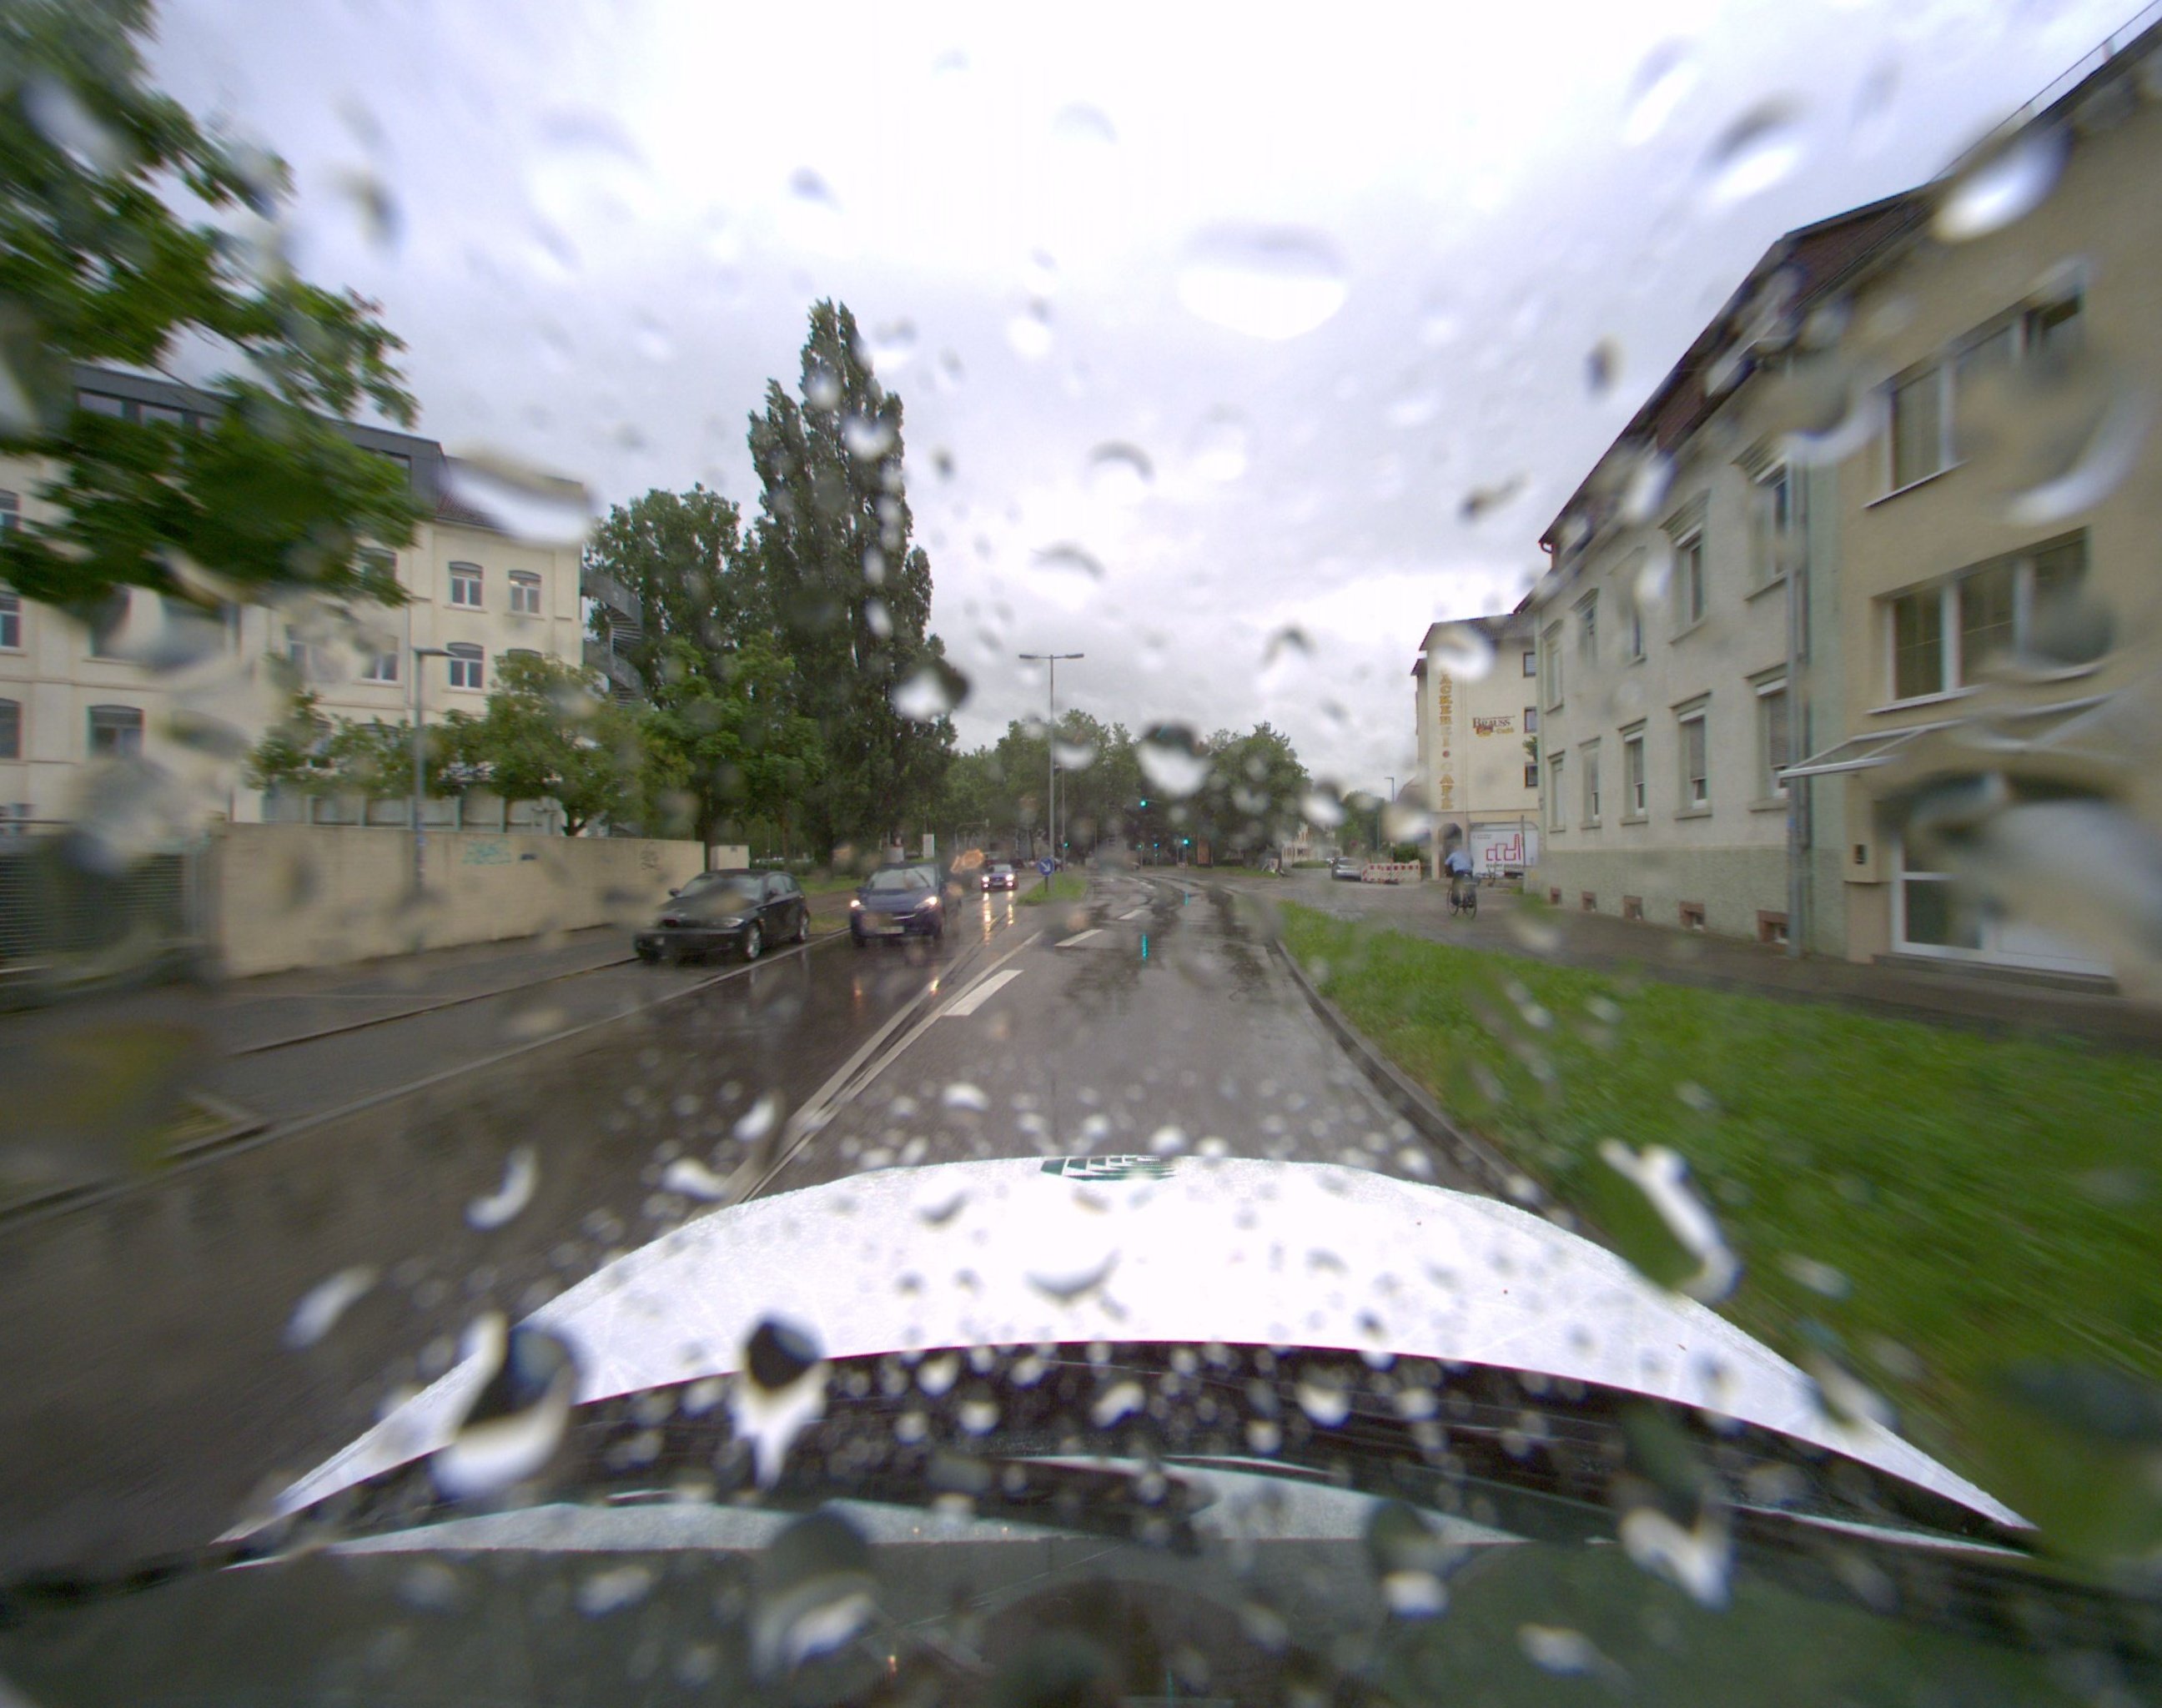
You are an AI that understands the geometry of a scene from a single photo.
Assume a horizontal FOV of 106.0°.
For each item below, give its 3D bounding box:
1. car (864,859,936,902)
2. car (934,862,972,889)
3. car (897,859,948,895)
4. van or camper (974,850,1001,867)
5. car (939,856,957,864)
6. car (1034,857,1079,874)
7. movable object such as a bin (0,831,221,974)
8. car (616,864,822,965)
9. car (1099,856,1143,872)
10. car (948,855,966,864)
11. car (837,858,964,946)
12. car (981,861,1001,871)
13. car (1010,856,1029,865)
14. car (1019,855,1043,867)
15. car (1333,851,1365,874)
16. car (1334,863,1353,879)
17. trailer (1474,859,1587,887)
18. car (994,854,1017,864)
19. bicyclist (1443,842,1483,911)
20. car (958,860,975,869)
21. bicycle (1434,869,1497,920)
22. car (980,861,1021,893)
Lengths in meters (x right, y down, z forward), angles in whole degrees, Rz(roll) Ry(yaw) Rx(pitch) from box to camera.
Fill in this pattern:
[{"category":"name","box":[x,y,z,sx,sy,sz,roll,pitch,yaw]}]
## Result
[{"category":"car","box":[-6.319,0.890,28.848,1.722,1.383,4.176,2,-1,-2]},{"category":"car","box":[-7.048,1.161,45.184,1.540,1.397,4.190,1,-1,-2]},{"category":"car","box":[-6.715,0.950,34.863,1.598,1.474,4.117,0,-1,-4]},{"category":"van or camper","box":[-16.130,0.836,140.351,2.332,2.807,6.801,0,-1,-28]},{"category":"car","box":[-25.824,1.190,157.707,1.928,1.620,4.327,1,-1,-31]},{"category":"car","box":[-2.599,1.188,85.374,4.256,1.744,2.009,0,-1,18]},{"category":"movable object such as a bin","box":[-11.417,0.493,9.006,1.903,1.424,1.756,0,-1,0]},{"category":"car","box":[-5.906,0.900,13.865,1.691,1.445,4.095,1,-1,-1]},{"category":"car","box":[4.028,1.049,82.257,4.083,1.602,1.989,0,-1,-16]},{"category":"car","box":[-23.239,1.066,152.836,1.928,1.620,4.327,1,-1,-31]},{"category":"car","box":[-3.444,0.866,16.243,1.701,1.501,3.944,-1,-1,-1]},{"category":"car","box":[-14.009,1.805,126.823,1.717,1.411,3.609,-3,1,-30]},{"category":"car","box":[-9.640,1.075,126.972,1.557,1.390,4.112,1,-1,-27]},{"category":"car","box":[-6.666,0.940,107.923,1.717,1.411,3.609,-3,1,-30]},{"category":"car","box":[17.323,0.565,52.801,1.623,1.433,4.191,0,-1,13]},{"category":"car","box":[28.991,1.833,89.775,1.839,1.654,4.326,0,-1,19]},{"category":"trailer","box":[20.833,0.868,37.805,4.475,1.232,1.836,0,-1,32]},{"category":"car","box":[-12.164,0.812,131.252,1.928,1.620,4.409,1,-1,-31]},{"category":"bicyclist","box":[8.884,0.517,18.968,0.635,1.582,0.716,0,0,4]},{"category":"car","box":[-19.620,1.744,139.662,1.717,1.411,3.609,-3,1,-30]},{"category":"bicycle","box":[8.916,0.915,18.968,0.670,1.060,1.974,0,0,4]},{"category":"car","box":[-3.950,1.115,40.512,1.722,1.393,3.947,-3,-1,-2]}]
